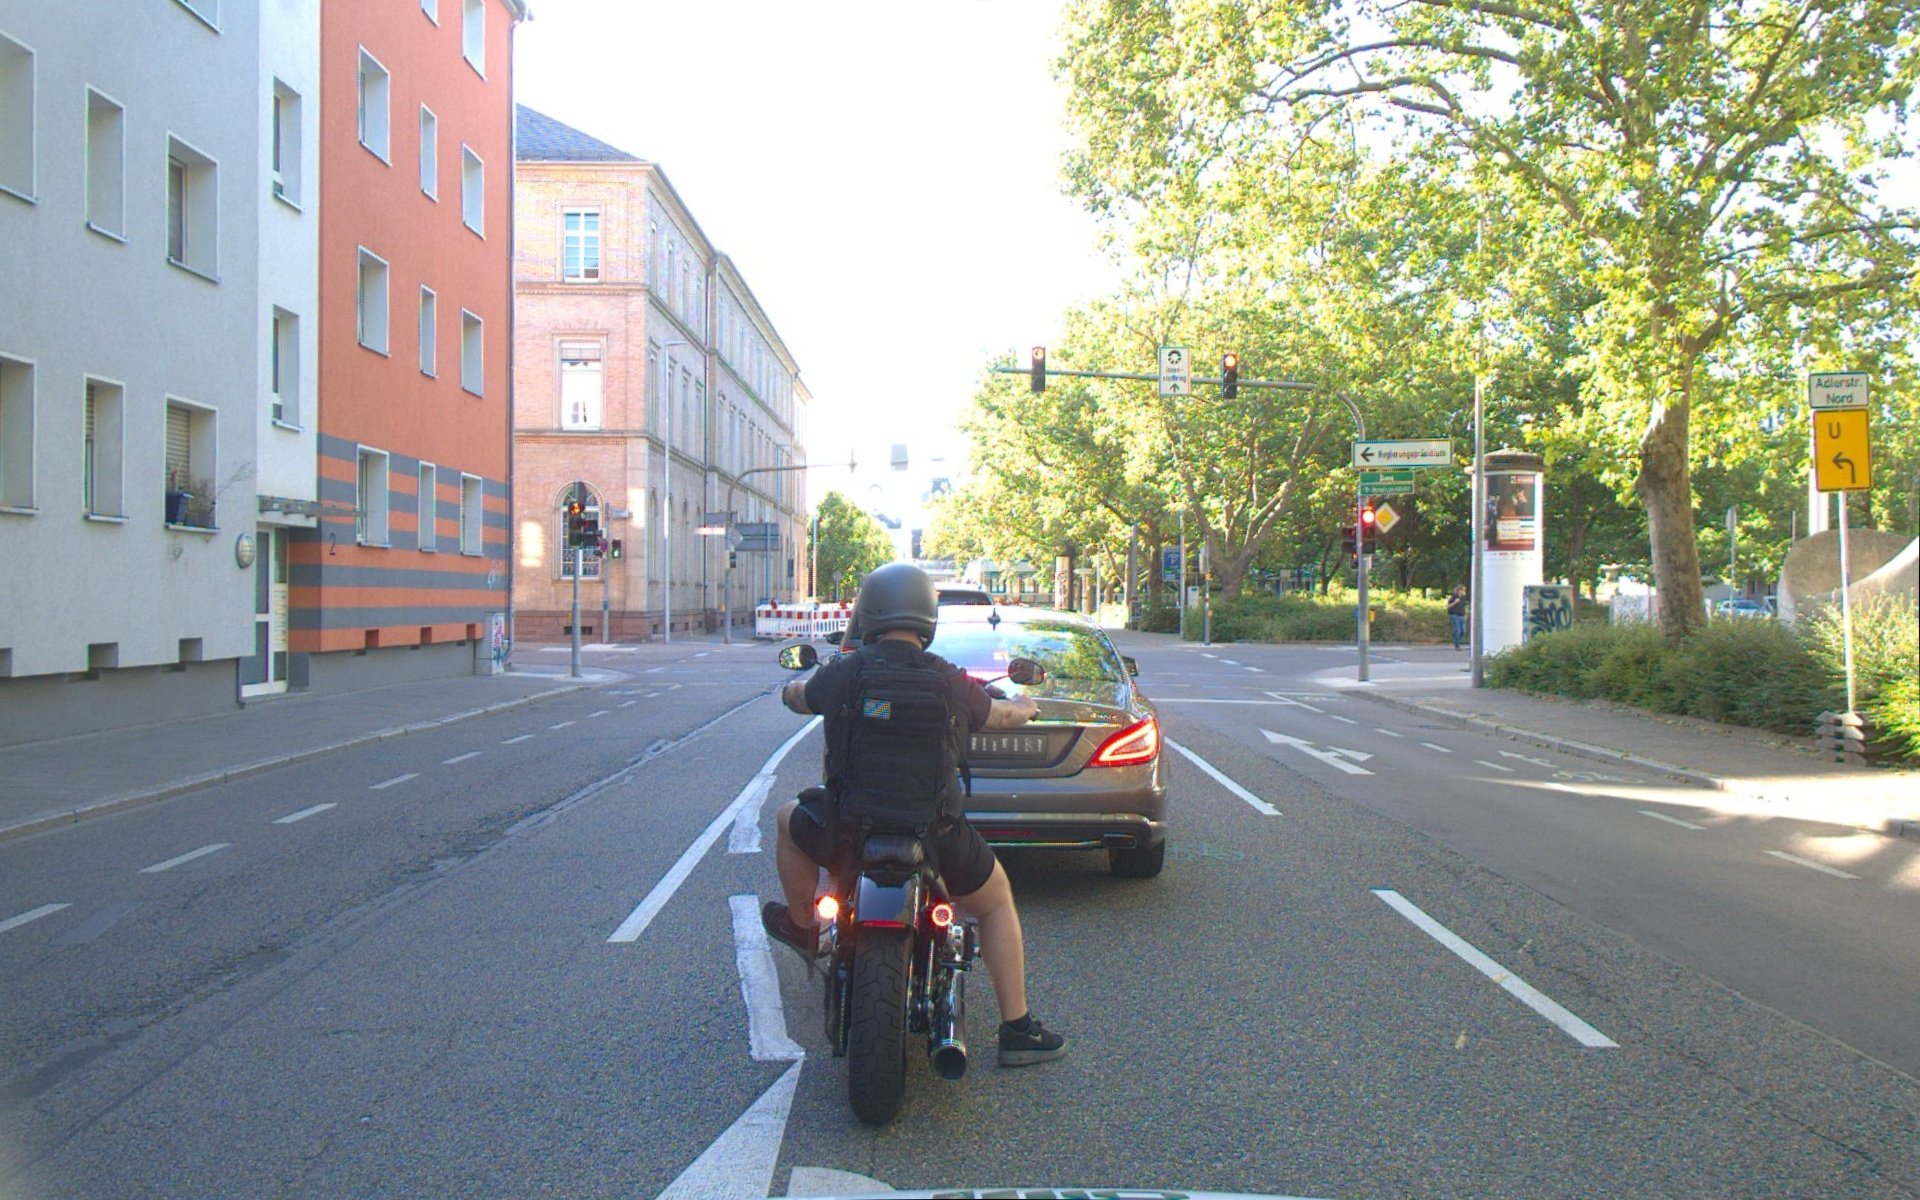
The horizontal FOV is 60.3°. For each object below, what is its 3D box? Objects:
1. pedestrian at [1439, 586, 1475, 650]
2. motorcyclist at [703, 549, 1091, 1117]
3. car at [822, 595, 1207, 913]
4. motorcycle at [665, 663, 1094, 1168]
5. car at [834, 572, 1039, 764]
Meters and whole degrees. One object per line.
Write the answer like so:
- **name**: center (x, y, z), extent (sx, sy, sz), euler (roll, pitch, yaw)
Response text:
- **pedestrian**: center (14.213, 0.519, 47.308), extent (0.723, 1.809, 0.727), euler (1, -1, -13)
- **motorcyclist**: center (-0.143, 0.661, 5.272), extent (1.076, 1.593, 1.072), euler (1, 0, 5)
- **car**: center (0.231, 0.731, 9.665), extent (1.785, 1.462, 3.805), euler (1, 0, -1)
- **motorcycle**: center (-0.131, 0.872, 5.493), extent (1.094, 1.228, 2.213), euler (1, 0, 5)
- **car**: center (-0.242, 0.623, 16.937), extent (1.825, 1.707, 3.999), euler (1, 0, -1)
